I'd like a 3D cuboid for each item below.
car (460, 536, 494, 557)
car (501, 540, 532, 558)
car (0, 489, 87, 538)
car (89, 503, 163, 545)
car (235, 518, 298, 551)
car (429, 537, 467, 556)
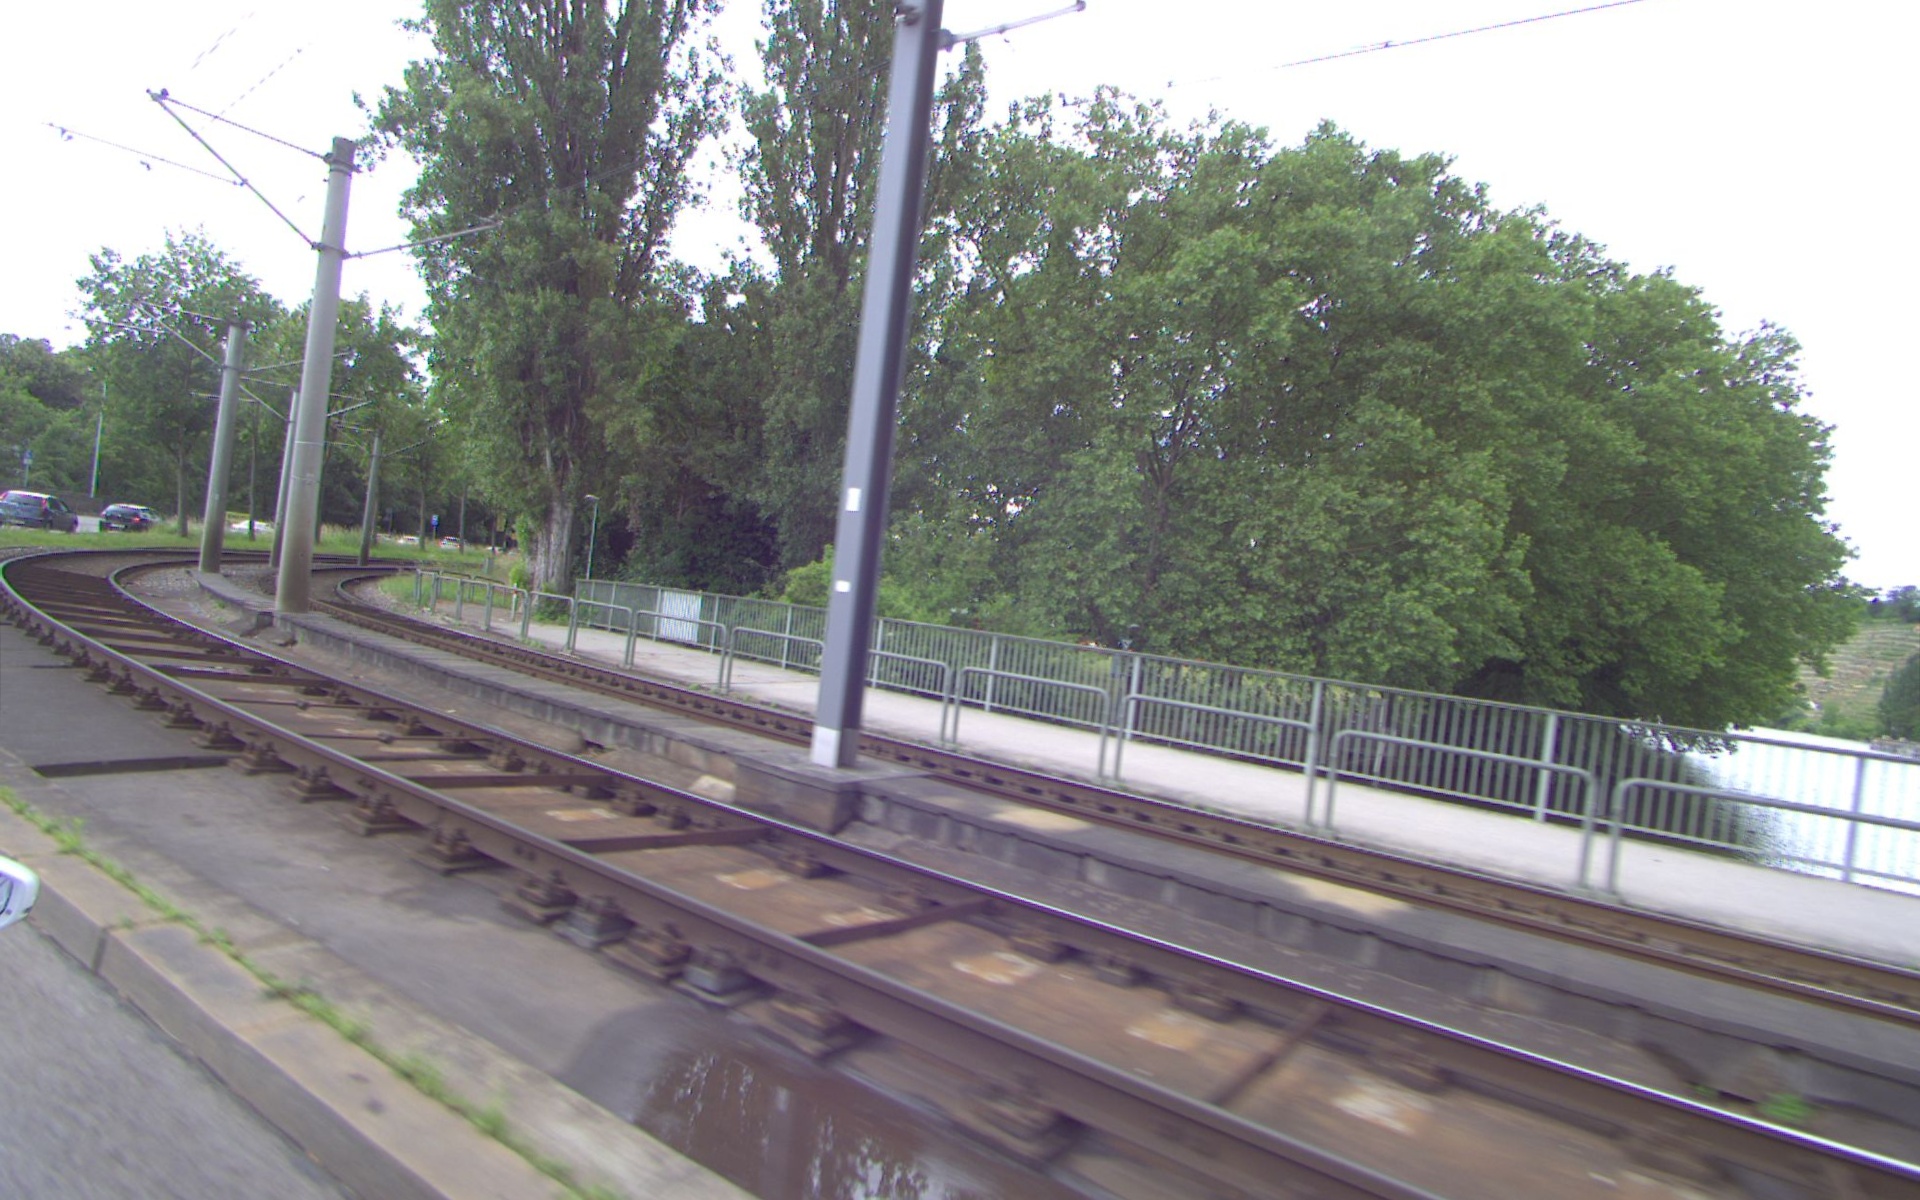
[{"bbox_3d":[-49.510,-5.487,103.133,1.772,1.893,4.120,6,2,-8],"label":"car"},{"bbox_3d":[-49.442,-5.691,112.304,1.965,1.791,3.991,6,2,-8],"label":"car"},{"bbox_3d":[-35.231,-3.285,38.534,1.779,1.575,4.350,6,0,-30],"label":"car"},{"bbox_3d":[-38.668,-3.494,46.764,1.756,1.574,4.209,7,-1,-29],"label":"car"},{"bbox_3d":[-42.004,-3.969,61.018,1.774,1.734,3.973,6,2,-14],"label":"car"},{"bbox_3d":[-47.398,-4.934,93.248,1.791,1.572,3.991,6,2,-8],"label":"car"}]
